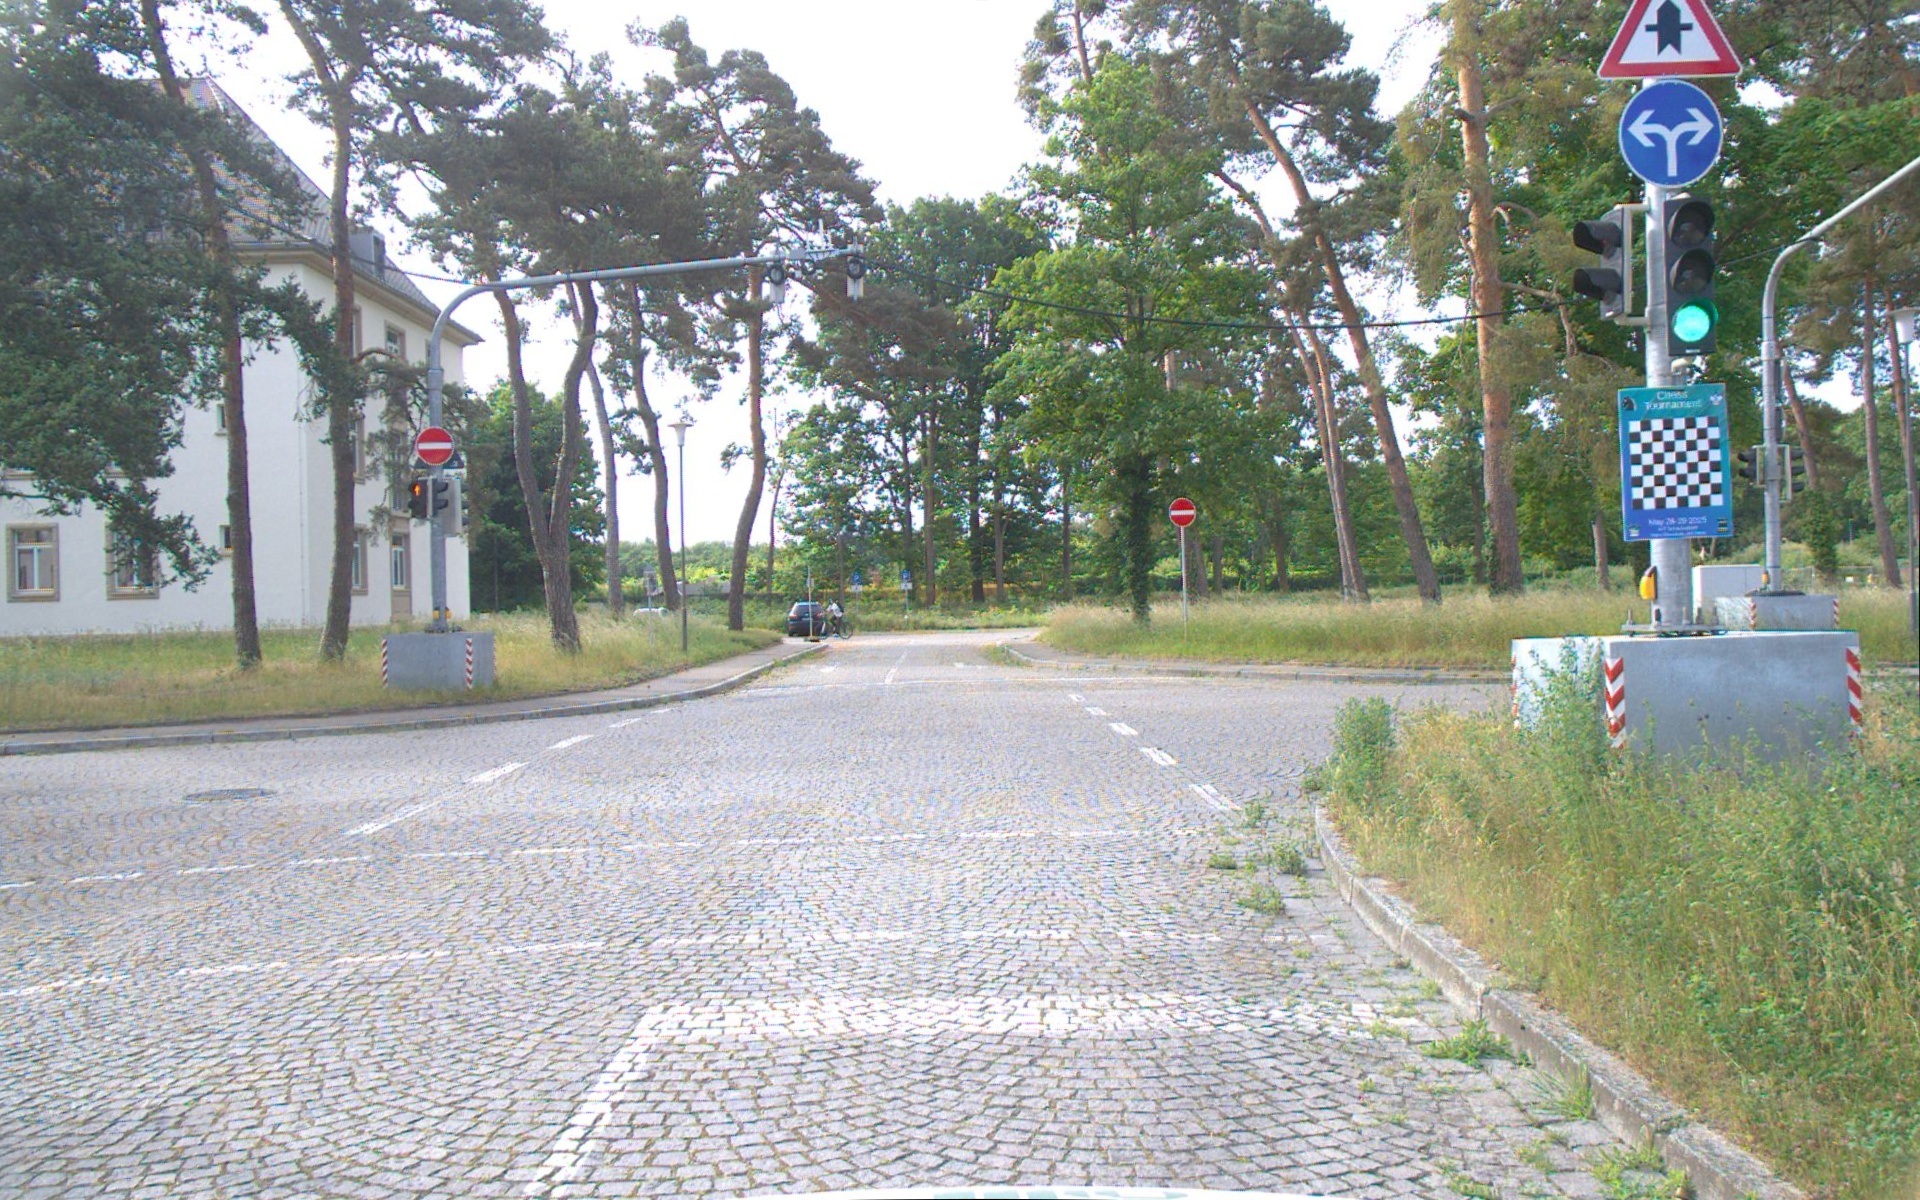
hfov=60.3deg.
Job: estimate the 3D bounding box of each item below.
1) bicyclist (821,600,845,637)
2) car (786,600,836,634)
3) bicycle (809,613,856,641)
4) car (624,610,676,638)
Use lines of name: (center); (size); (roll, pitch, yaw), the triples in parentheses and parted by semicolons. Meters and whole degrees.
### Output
bicyclist: (-5.413, 0.782, 70.662); (0.955, 1.537, 0.807); (-2, 0, -4)
car: (-6.890, 0.755, 77.038); (1.953, 1.534, 4.000); (0, 0, 0)
bicycle: (-5.428, 1.135, 70.639); (1.948, 1.114, 0.809); (-2, 0, -5)
car: (-14.533, 1.097, 77.720); (1.654, 1.176, 4.000); (-2, 0, 0)
